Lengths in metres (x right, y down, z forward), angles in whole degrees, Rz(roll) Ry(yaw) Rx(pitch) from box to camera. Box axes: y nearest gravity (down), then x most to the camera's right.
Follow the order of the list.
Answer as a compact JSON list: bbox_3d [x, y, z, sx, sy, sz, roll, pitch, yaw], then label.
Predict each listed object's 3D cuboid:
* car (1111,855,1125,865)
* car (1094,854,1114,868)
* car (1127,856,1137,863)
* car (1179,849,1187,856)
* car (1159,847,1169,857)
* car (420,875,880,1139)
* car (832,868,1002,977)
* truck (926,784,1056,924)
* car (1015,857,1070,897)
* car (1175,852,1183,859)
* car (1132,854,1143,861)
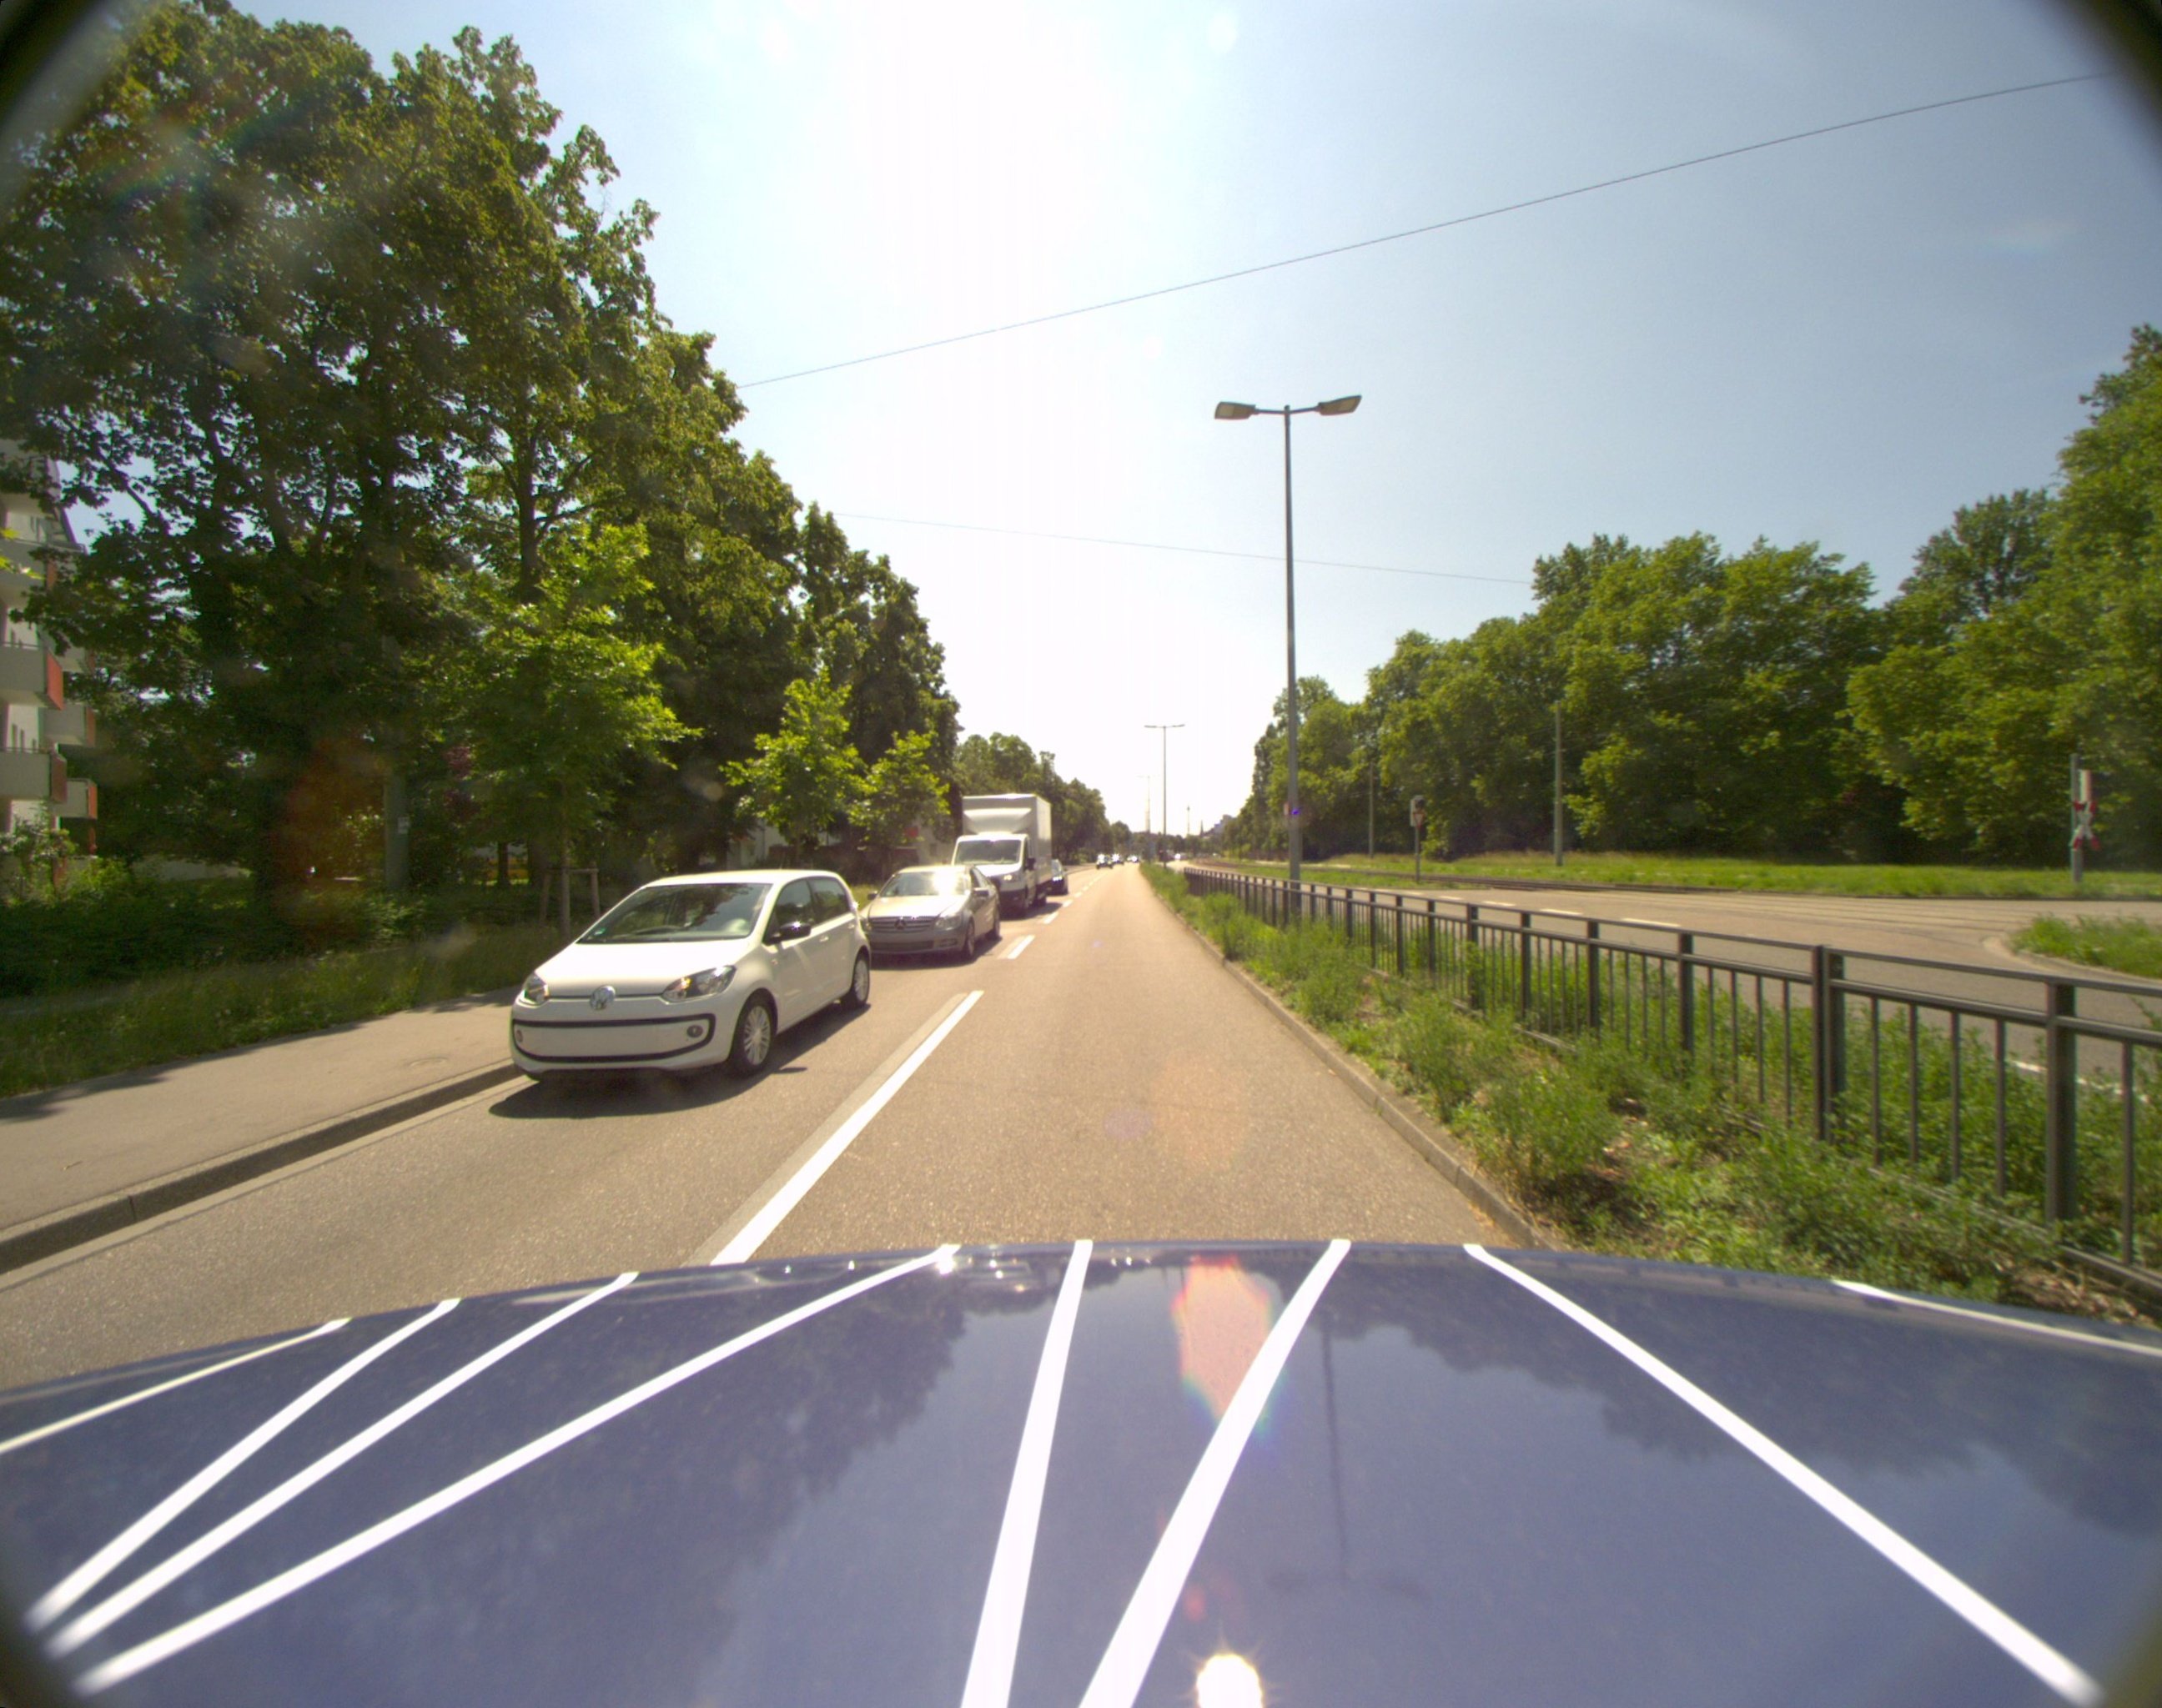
[{"bbox_3d":[6.124,0.965,124.383,1.997,1.499,4.002,-1,0,7],"label":"car"},{"bbox_3d":[2.741,0.815,89.751,1.997,1.499,4.002,-1,0,7],"label":"car"},{"bbox_3d":[11.744,1.229,175.454,1.951,1.499,4.002,-1,0,7],"label":"car"},{"bbox_3d":[26.919,-0.355,200.762,1.998,1.847,4.001,-1,0,5],"label":"car"},{"bbox_3d":[16.804,-0.390,153.773,1.997,1.847,4.002,-1,0,7],"label":"car"},{"bbox_3d":[-3.124,0.987,6.514,1.730,1.470,3.771,-1,0,1],"label":"car"},{"bbox_3d":[-2.472,0.984,12.535,1.840,1.400,4.087,-1,0,1],"label":"car"},{"bbox_3d":[-2.297,-0.011,22.274,2.433,3.326,7.923,-1,0,3],"label":"truck"},{"bbox_3d":[-1.510,0.911,31.494,1.998,1.499,4.000,-1,0,1],"label":"car"},{"bbox_3d":[26.847,0.291,207.323,1.998,1.847,4.001,-1,0,5],"label":"car"},{"bbox_3d":[11.737,0.682,157.994,1.997,1.499,4.002,-1,0,7],"label":"car"}]
